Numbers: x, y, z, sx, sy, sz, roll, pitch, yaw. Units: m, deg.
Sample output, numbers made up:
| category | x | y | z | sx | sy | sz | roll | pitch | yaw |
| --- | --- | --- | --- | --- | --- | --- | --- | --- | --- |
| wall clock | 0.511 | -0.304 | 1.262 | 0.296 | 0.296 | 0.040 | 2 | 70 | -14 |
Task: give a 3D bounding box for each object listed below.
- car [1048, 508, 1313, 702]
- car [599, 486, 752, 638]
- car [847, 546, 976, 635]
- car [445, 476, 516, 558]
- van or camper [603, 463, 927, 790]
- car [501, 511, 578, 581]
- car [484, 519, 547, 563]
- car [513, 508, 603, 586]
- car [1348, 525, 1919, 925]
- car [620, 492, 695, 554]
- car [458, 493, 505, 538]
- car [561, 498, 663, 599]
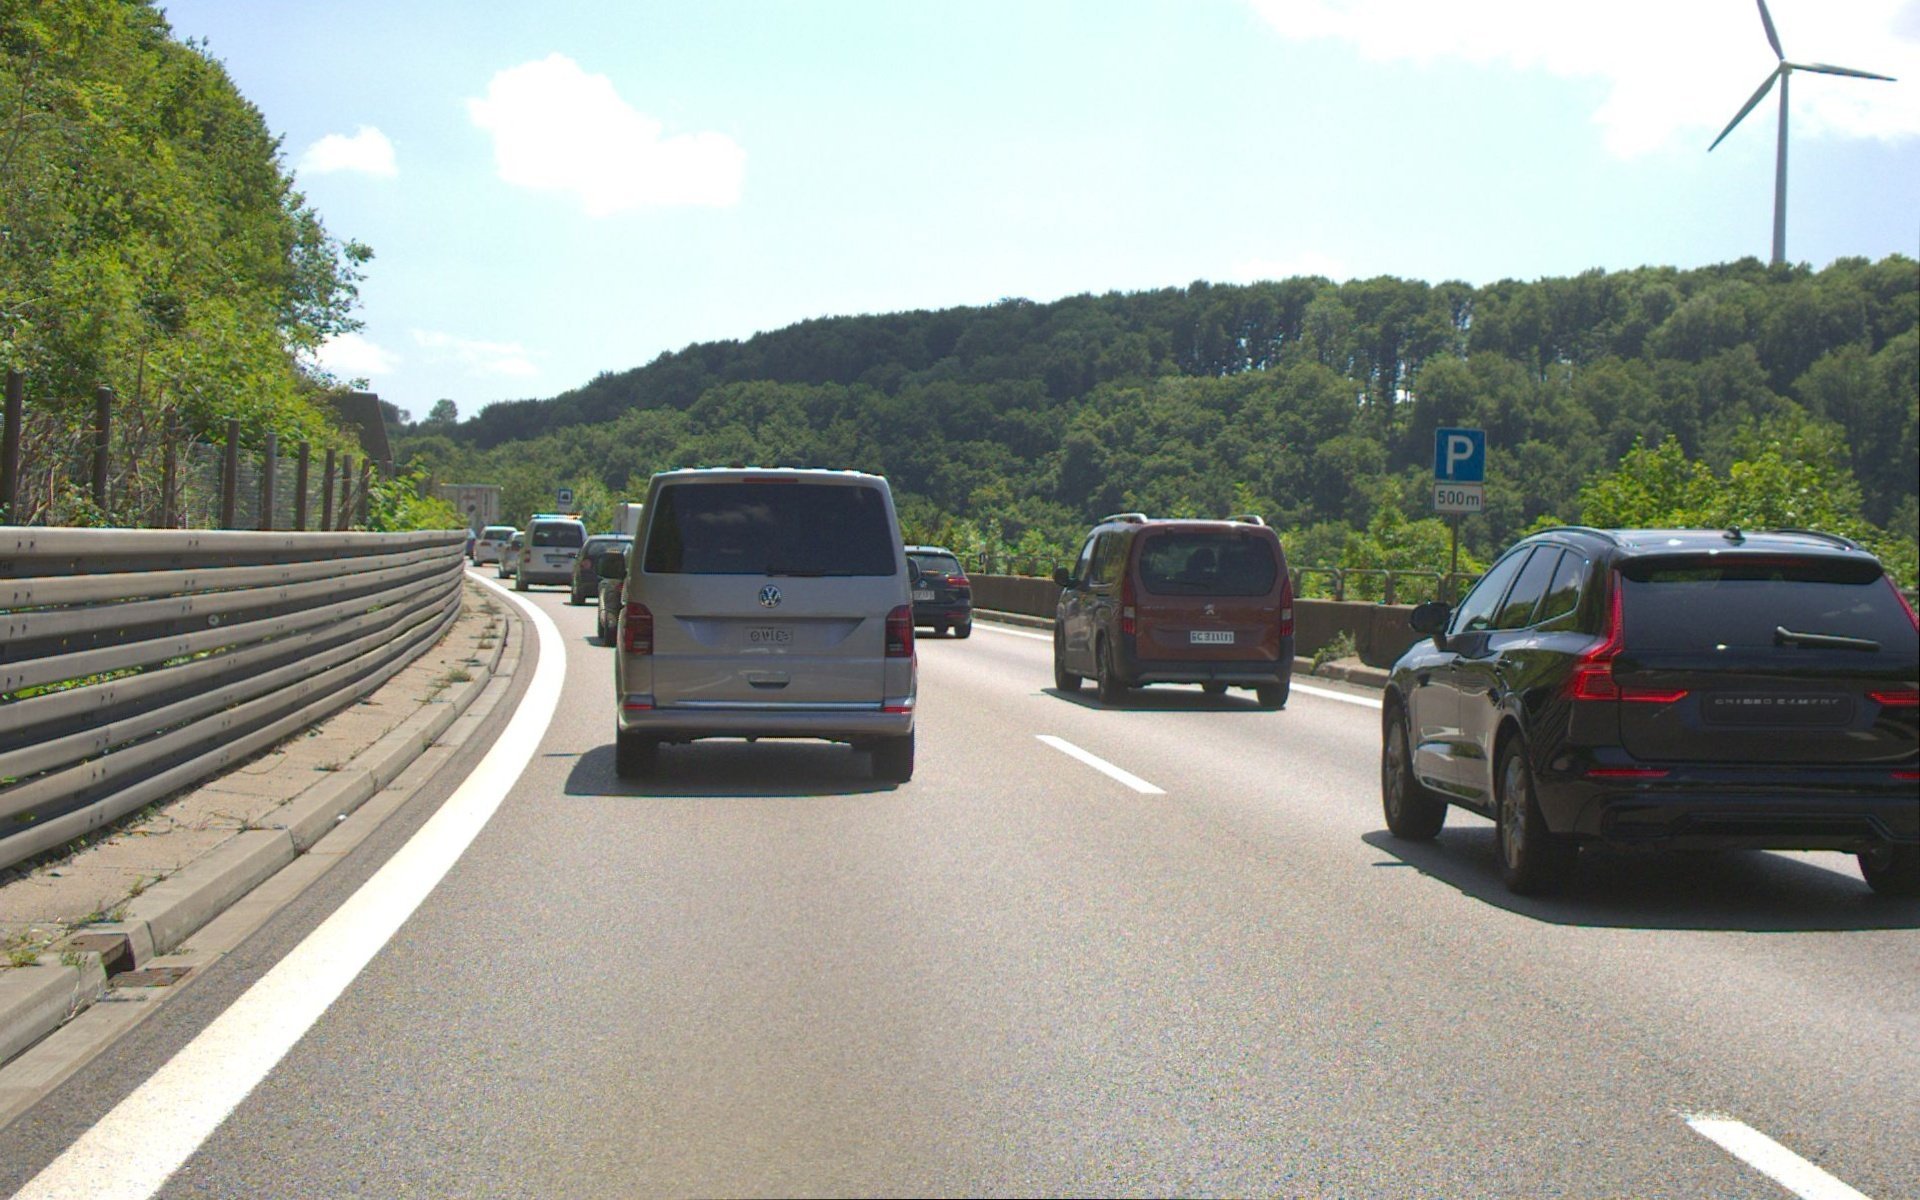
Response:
| category | x | y | z | sx | sy | sz | roll | pitch | yaw |
| --- | --- | --- | --- | --- | --- | --- | --- | --- | --- |
| car | 2.115 | 0.025 | 34.280 | 1.833 | 1.778 | 4.677 | 1 | 1 | -6 |
| car | -4.025 | -0.536 | 48.094 | 1.993 | 2.007 | 4.001 | 1 | 1 | -6 |
| car | -0.818 | -0.171 | 55.663 | 1.768 | 1.371 | 3.593 | 1 | 1 | -6 |
| car | -29.281 | -5.020 | 210.284 | 4.042 | 4.855 | 10.112 | 1 | 1 | -7 |
| van or camper | -1.387 | 0.138 | 22.754 | 1.875 | 1.943 | 4.295 | 1 | 1 | -6 |
| car | -12.347 | -1.594 | 100.737 | 1.993 | 1.908 | 4.001 | 2 | 1 | -9 |
| car | -17.113 | -2.286 | 132.166 | 2.142 | 1.601 | 5.079 | 2 | 1 | -10 |
| car | -10.042 | -1.326 | 85.678 | 1.993 | 1.811 | 4.001 | 2 | 1 | -9 |
| car | 3.190 | 0.483 | 16.490 | 1.834 | 1.628 | 4.663 | 1 | 1 | -3 |
| car | -10.101 | -2.537 | 114.593 | 1.993 | 2.007 | 4.001 | 1 | 1 | -12 |
| car | -21.984 | -3.869 | 157.856 | 1.993 | 2.007 | 4.001 | 1 | 1 | -9 |
| car | -7.249 | -1.064 | 71.358 | 1.993 | 2.007 | 4.001 | 1 | 1 | -7 |
